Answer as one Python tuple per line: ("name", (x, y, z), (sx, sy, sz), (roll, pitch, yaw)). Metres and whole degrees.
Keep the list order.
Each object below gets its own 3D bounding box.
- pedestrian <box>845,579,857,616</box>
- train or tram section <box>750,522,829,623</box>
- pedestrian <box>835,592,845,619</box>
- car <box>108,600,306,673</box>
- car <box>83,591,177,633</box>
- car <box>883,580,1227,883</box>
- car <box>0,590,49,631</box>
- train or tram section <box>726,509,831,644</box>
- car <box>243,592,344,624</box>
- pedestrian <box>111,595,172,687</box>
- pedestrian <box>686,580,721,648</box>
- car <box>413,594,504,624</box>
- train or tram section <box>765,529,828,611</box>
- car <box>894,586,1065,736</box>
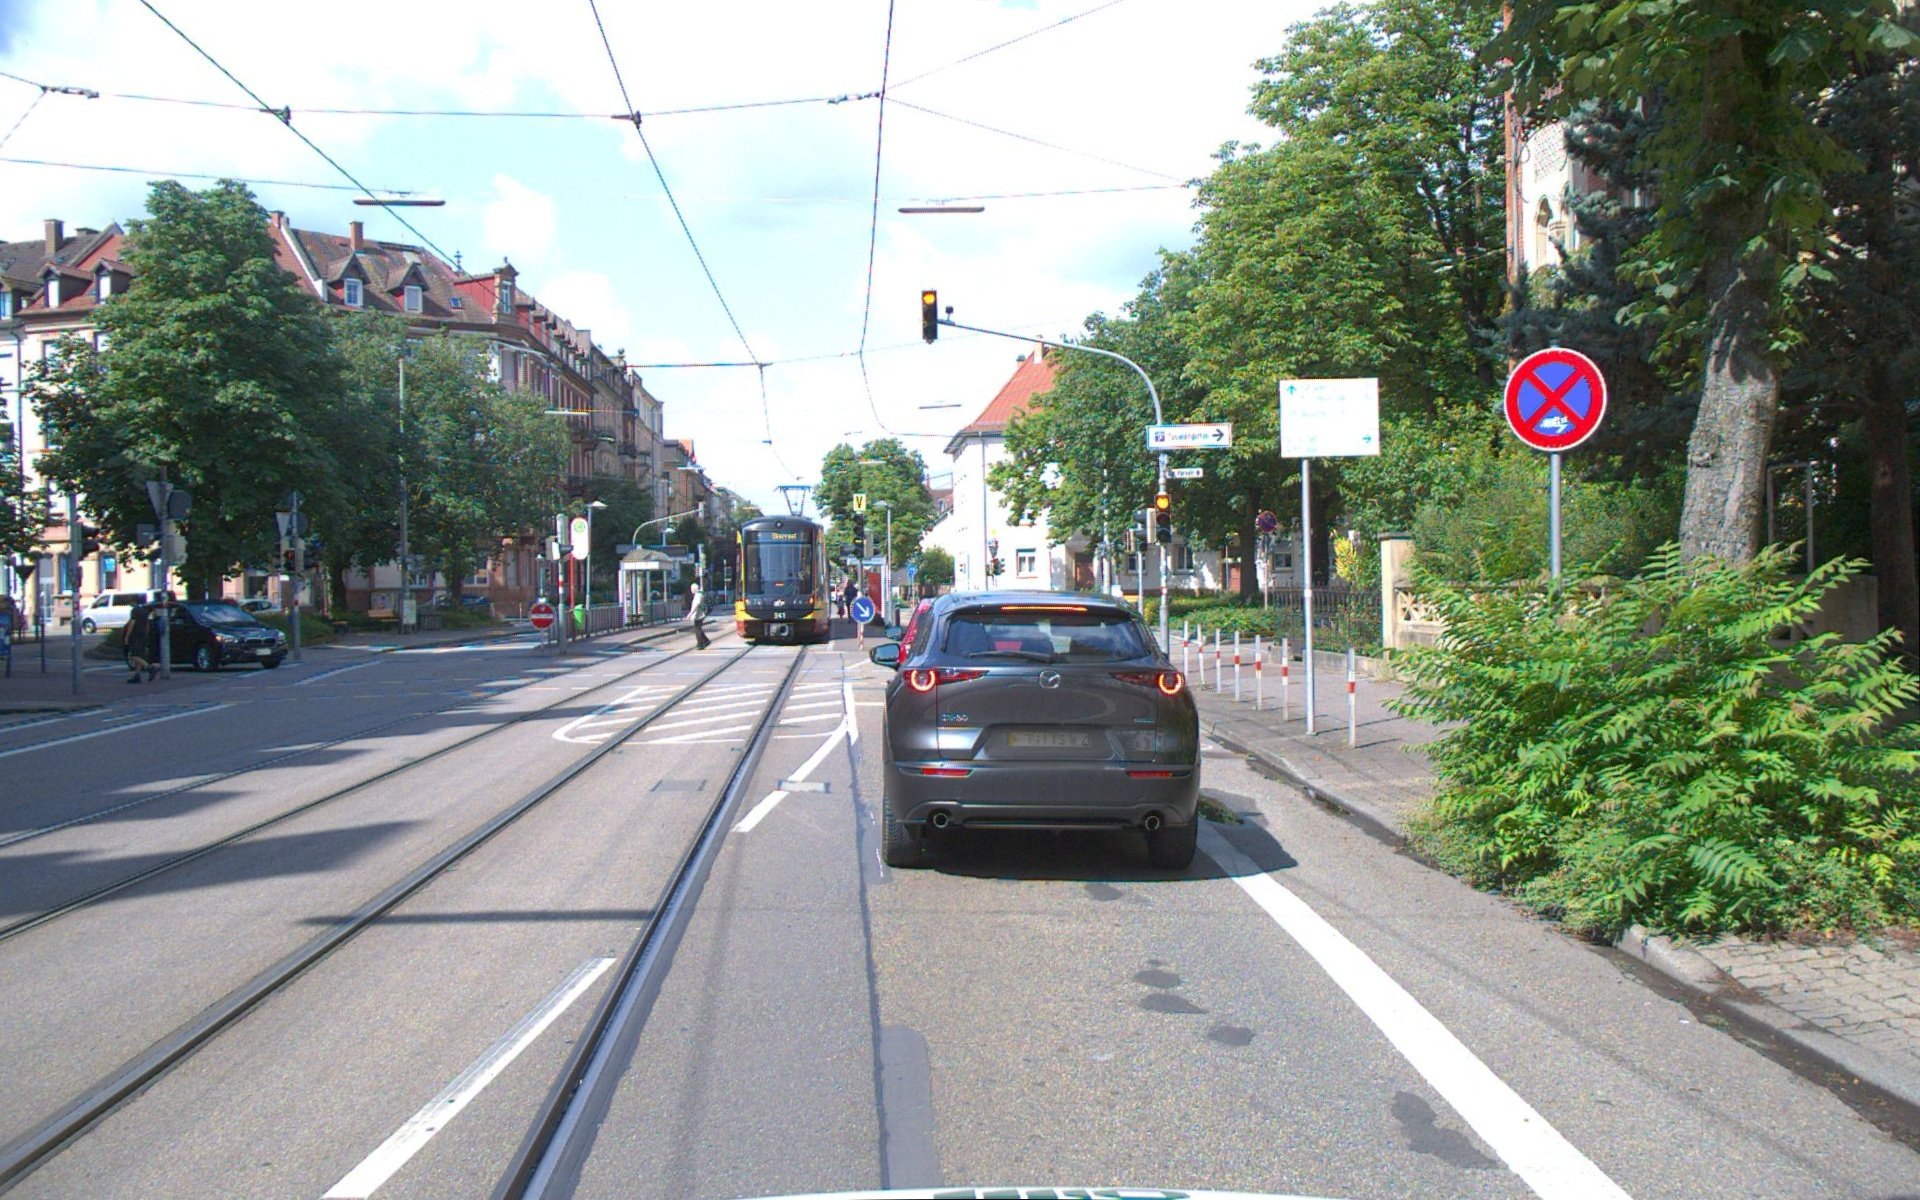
("pedestrian", (-4.360, -0.107, 66.239), (0.441, 1.459, 0.474), (-1, 0, -6))
("train or tram section", (-6.599, -1.141, 65.607), (2.699, 3.551, 14.395), (-1, 1, -5))
("pedestrian", (-4.805, 0.223, 66.106), (0.372, 1.089, 0.474), (-1, 0, -4))
("car", (-16.836, 0.813, 36.985), (3.972, 1.545, 1.761), (-1, 0, 21))
("car", (-39.789, 0.587, 79.284), (3.906, 1.937, 1.999), (-1, 0, 24))
("car", (0.450, 0.660, 10.480), (1.742, 1.526, 3.999), (1, 0, -1))
("car", (-39.655, 0.464, 67.373), (3.905, 1.624, 2.000), (-1, 0, -1))
("train or tram section", (-5.420, -0.804, 51.270), (2.699, 3.551, 14.395), (-1, 1, -5))
("car", (-29.770, 0.342, 73.924), (1.643, 1.384, 3.989), (-1, 0, 33))
("pedestrian", (-15.585, 0.767, 31.504), (0.735, 1.713, 0.701), (-1, 0, 8))
("pedestrian", (-6.612, 0.357, 42.657), (0.702, 1.735, 0.824), (-1, 0, 4))
("car", (-24.286, 0.428, 80.173), (3.947, 1.384, 1.661), (-1, 0, -31))
("train or tram section", (-7.759, -1.500, 79.965), (2.699, 3.551, 14.395), (-1, 1, -5))
("car", (0.166, 0.613, 19.082), (1.742, 1.526, 3.999), (1, 0, -1))
